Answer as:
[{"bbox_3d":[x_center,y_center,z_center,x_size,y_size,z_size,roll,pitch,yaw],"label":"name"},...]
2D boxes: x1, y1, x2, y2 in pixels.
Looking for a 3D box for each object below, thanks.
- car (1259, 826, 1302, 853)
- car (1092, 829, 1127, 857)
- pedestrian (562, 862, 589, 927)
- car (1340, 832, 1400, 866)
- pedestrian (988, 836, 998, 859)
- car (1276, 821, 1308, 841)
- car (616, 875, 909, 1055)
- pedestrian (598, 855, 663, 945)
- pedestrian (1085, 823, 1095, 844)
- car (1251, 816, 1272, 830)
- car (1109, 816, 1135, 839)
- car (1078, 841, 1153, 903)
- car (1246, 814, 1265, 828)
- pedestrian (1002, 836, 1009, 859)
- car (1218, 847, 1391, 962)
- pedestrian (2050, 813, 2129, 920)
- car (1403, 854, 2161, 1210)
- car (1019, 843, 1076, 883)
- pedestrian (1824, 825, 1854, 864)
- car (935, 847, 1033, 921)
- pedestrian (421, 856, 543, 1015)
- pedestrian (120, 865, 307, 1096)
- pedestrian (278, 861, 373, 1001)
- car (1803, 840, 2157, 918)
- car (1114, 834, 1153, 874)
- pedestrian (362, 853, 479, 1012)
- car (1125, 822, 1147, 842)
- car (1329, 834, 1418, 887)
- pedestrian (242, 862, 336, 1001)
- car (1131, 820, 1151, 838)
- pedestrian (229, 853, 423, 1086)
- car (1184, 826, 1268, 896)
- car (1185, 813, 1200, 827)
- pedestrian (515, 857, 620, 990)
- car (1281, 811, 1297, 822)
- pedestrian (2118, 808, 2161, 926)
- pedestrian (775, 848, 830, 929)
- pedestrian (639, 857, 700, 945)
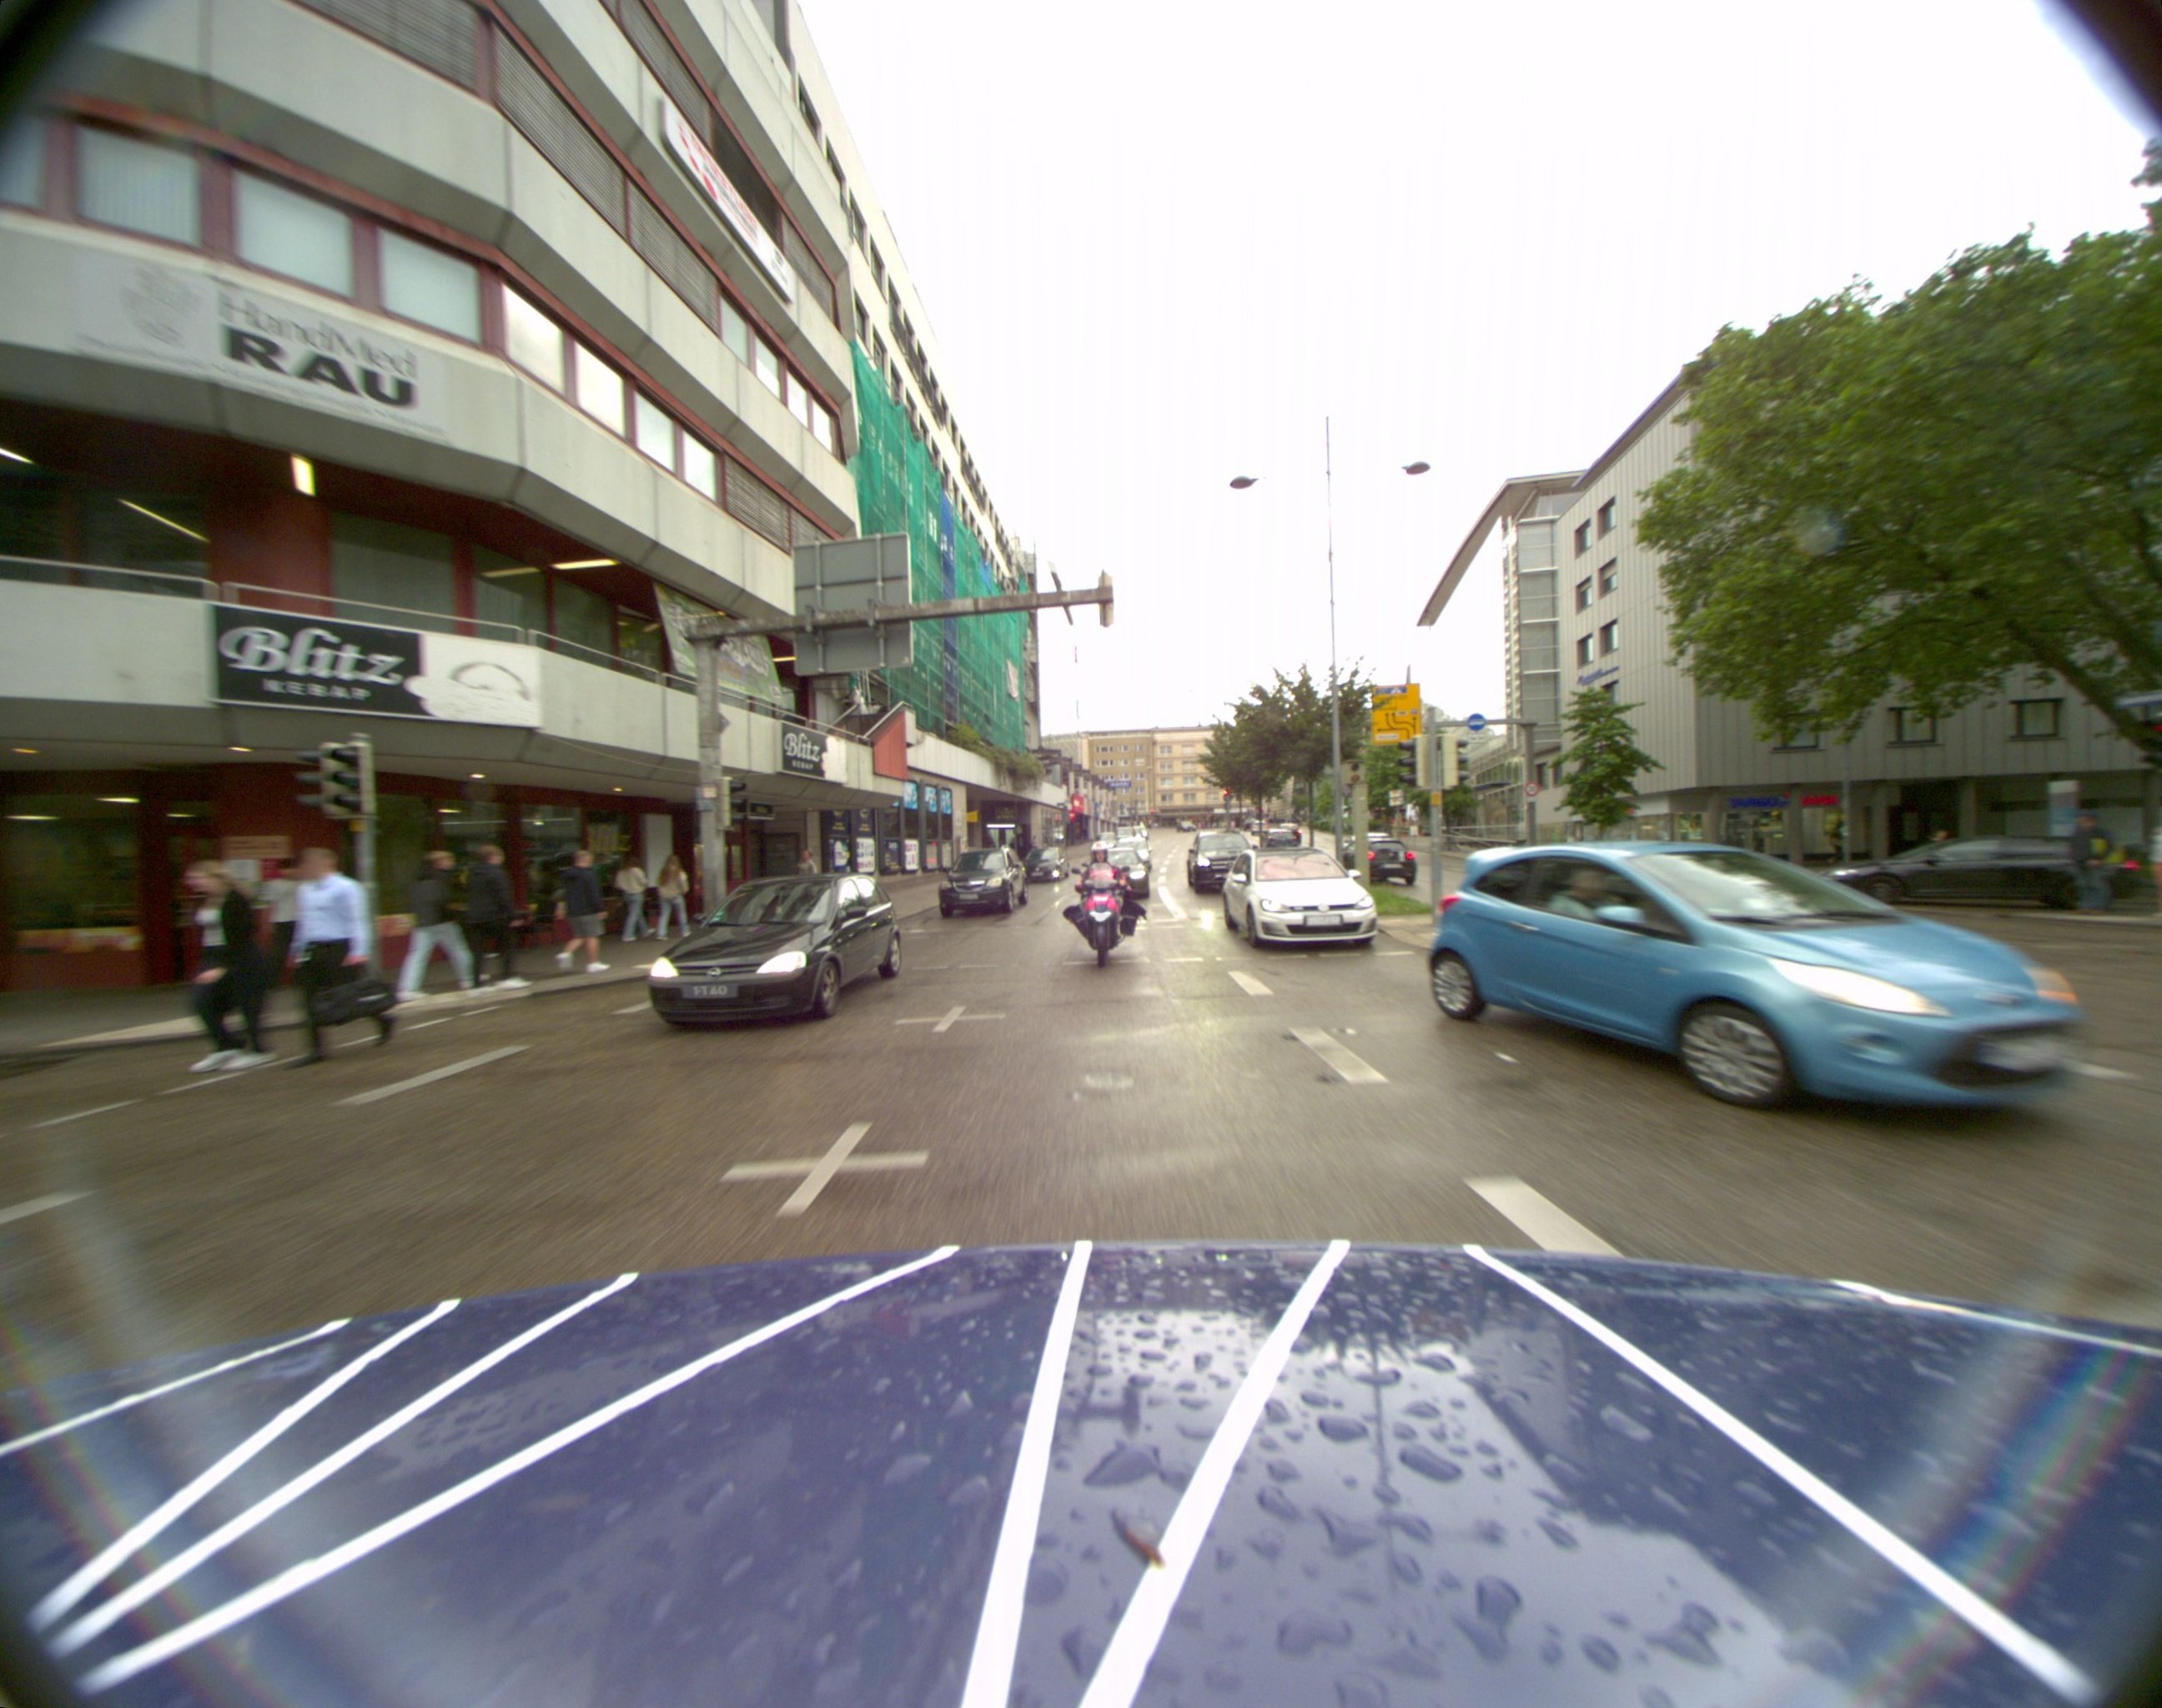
[{"bbox_3d":[11.429,-0.860,43.811,1.717,1.470,3.957,0,2,5],"label":"car"},{"bbox_3d":[2.026,-0.809,52.360,1.775,1.575,4.000,-4,3,10],"label":"car"},{"bbox_3d":[-11.940,0.950,17.946,0.460,1.479,0.508,-3,4,-33],"label":"pedestrian"},{"bbox_3d":[13.370,-0.267,35.349,1.675,1.507,3.644,0,1,5],"label":"car"},{"bbox_3d":[-5.807,-0.424,50.098,0.525,1.481,0.428,-3,4,-26],"label":"pedestrian"},{"bbox_3d":[16.075,-1.759,58.045,1.622,1.483,3.879,0,2,5],"label":"car"},{"bbox_3d":[-3.248,1.047,8.571,1.596,1.432,3.628,-2,0,2],"label":"car"},{"bbox_3d":[-8.797,0.868,14.866,0.589,1.696,0.971,0,1,8],"label":"pedestrian"},{"bbox_3d":[0.816,-1.793,67.514,0.707,1.772,0.641,3,9,7],"label":"pedestrian"},{"bbox_3d":[18.888,-3.267,79.692,1.628,1.430,3.646,-1,3,5],"label":"car"},{"bbox_3d":[3.361,-2.163,61.926,1.831,1.727,3.999,-1,4,7],"label":"car"},{"bbox_3d":[1.174,0.473,23.624,1.936,1.512,4.468,-2,3,7],"label":"car"},{"bbox_3d":[21.767,-4.156,95.090,1.997,1.501,4.185,-2,3,9],"label":"car"},{"bbox_3d":[-4.908,-0.415,49.616,0.429,1.481,0.524,-2,4,-5],"label":"pedestrian"},{"bbox_3d":[3.415,0.675,12.381,1.769,1.401,3.999,-3,2,3],"label":"car"},{"bbox_3d":[17.190,0.212,12.968,0.412,1.753,0.677,-2,0,4],"label":"pedestrian"},{"bbox_3d":[4.121,0.766,5.226,1.701,1.466,3.686,-2,1,-11],"label":"car"},{"bbox_3d":[-1.430,0.371,33.672,1.681,1.422,3.777,-3,3,10],"label":"car"},{"bbox_3d":[32.985,-0.424,33.070,0.622,1.648,0.632,-1,4,11],"label":"pedestrian"},{"bbox_3d":[-2.507,0.714,20.746,1.735,1.669,4.249,-3,2,4],"label":"car"},{"bbox_3d":[-7.506,0.994,9.562,0.760,1.891,0.790,-2,3,5],"label":"pedestrian"},{"bbox_3d":[-7.153,1.007,6.298,0.623,1.764,0.677,-2,3,12],"label":"pedestrian"},{"bbox_3d":[-9.835,0.991,9.907,0.596,1.753,0.493,-2,3,6],"label":"pedestrian"},{"bbox_3d":[18.166,0.418,15.776,4.413,1.388,1.937,1,2,38],"label":"car"},{"bbox_3d":[2.547,-0.039,36.159,1.631,1.732,3.600,-1,2,6],"label":"car"},{"bbox_3d":[-8.258,0.957,9.530,0.734,1.885,0.676,-2,3,5],"label":"pedestrian"},{"bbox_3d":[5.136,-2.055,70.297,1.831,1.727,3.999,-1,4,7],"label":"car"},{"bbox_3d":[9.278,0.179,24.361,1.626,1.546,3.660,-2,1,4],"label":"car"},{"bbox_3d":[-10.424,1.005,10.018,0.527,1.753,0.511,-2,3,6],"label":"pedestrian"},{"bbox_3d":[6.208,-2.600,78.232,1.831,1.727,3.999,-1,4,7],"label":"car"},{"bbox_3d":[-6.451,0.942,6.543,0.623,1.837,0.848,-2,3,12],"label":"pedestrian"},{"bbox_3d":[4.469,0.130,24.138,1.998,1.768,4.884,-4,3,5],"label":"car"},{"bbox_3d":[14.679,-4.452,100.290,1.831,1.727,3.999,-1,4,7],"label":"car"},{"bbox_3d":[-7.335,0.962,10.897,0.750,1.770,0.888,-3,3,2],"label":"pedestrian"},{"bbox_3d":[42.061,-7.549,153.388,1.999,2.003,3.997,-4,3,-1],"label":"car"},{"bbox_3d":[17.085,0.202,11.976,0.447,1.827,0.676,-2,4,1],"label":"pedestrian"},{"bbox_3d":[-6.451,0.772,17.632,0.897,1.770,0.805,3,4,8],"label":"pedestrian"},{"bbox_3d":[-8.039,0.899,14.875,0.575,1.653,0.941,0,1,8],"label":"pedestrian"}]
